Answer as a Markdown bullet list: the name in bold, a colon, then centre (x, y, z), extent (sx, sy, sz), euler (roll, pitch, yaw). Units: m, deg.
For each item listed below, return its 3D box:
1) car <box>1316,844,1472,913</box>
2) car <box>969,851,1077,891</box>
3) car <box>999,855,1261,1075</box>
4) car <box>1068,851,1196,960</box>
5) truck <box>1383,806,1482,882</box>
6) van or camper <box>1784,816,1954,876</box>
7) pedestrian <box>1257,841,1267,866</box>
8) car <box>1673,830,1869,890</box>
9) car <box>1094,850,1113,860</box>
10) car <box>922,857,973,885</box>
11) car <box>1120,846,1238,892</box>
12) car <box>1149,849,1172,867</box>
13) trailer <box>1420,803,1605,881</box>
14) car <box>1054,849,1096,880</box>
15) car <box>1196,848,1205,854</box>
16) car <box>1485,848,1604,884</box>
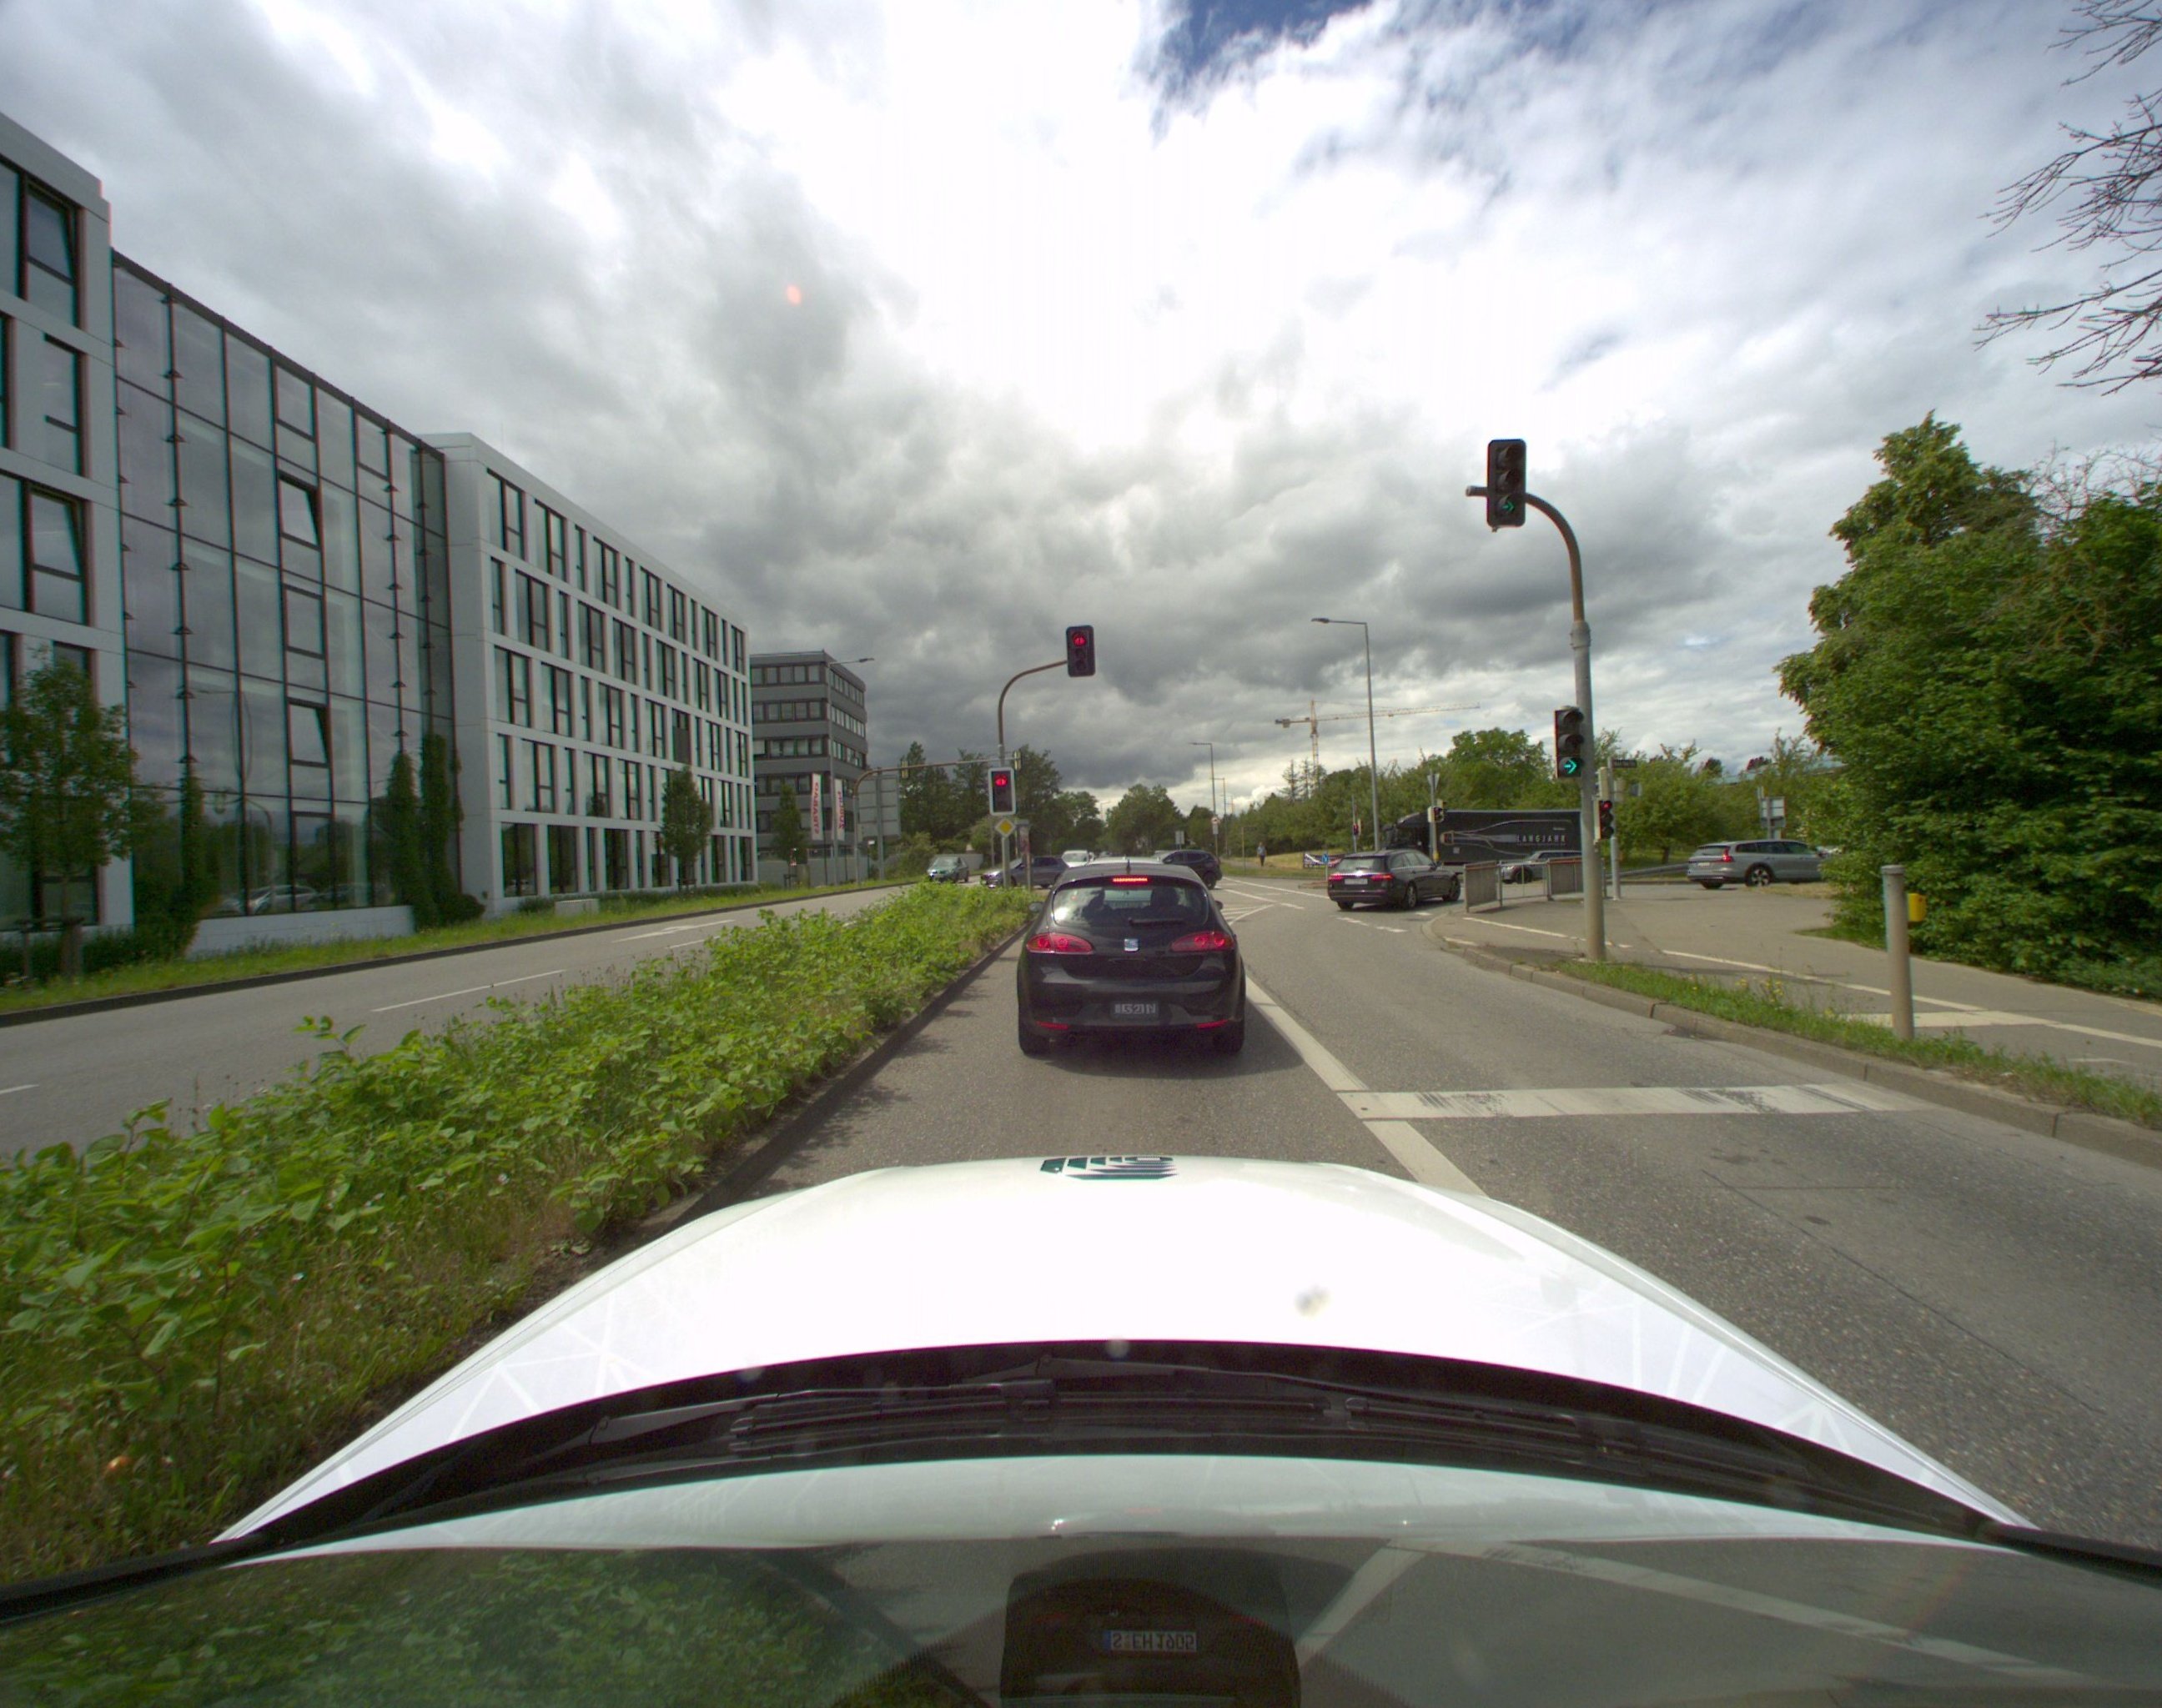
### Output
- **car**: centre (8.217, 0.563, 21.064), extent (1.855, 1.440, 5.232), euler (-3, 0, 43)
- **car**: centre (-2.560, 0.722, 36.001), extent (4.330, 1.525, 1.981), euler (-2, 0, -29)
- **car**: centre (0.389, 0.761, 7.348), extent (1.766, 1.451, 3.584), euler (-1, 0, 2)
- **car**: centre (0.727, 0.733, 13.469), extent (1.768, 1.491, 3.581), euler (-3, 0, 0)
- **truck**: centre (16.846, -0.470, 39.208), extent (3.964, 3.469, 2.005), euler (-1, 0, 8)
- **van or camper**: centre (36.151, -0.364, 37.451), extent (5.904, 2.532, 2.247), euler (-1, 0, -4)
- **pedestrian**: centre (12.910, -0.053, 58.010), extent (0.556, 1.726, 0.588), euler (-1, 0, 2)
- **car**: centre (20.669, 0.172, 24.506), extent (4.422, 1.518, 1.867), euler (-3, 0, -4)
- **car**: centre (3.163, 0.161, 114.135), extent (1.981, 1.352, 4.011), euler (-1, 0, 10)
- **car**: centre (-7.256, 0.901, 44.544), extent (1.986, 1.352, 4.002), euler (-1, 0, 2)
- **car**: centre (3.992, 0.586, 33.192), extent (4.324, 1.615, 1.984), euler (-2, 0, -24)
- **car**: centre (7.314, 0.325, 74.962), extent (1.984, 1.530, 4.007), euler (-2, 0, 6)
- **trailer**: centre (20.361, -0.545, 38.751), extent (7.543, 3.458, 2.004), euler (-1, 0, 7)
- **car**: centre (-0.311, 0.563, 46.668), extent (1.984, 1.596, 4.006), euler (-2, 0, 5)
- **car**: centre (26.744, -0.743, 182.039), extent (1.981, 1.352, 4.011), euler (-1, 0, 10)
- **car**: centre (19.621, 0.501, 34.634), extent (3.964, 1.420, 2.005), euler (-1, 0, 8)
